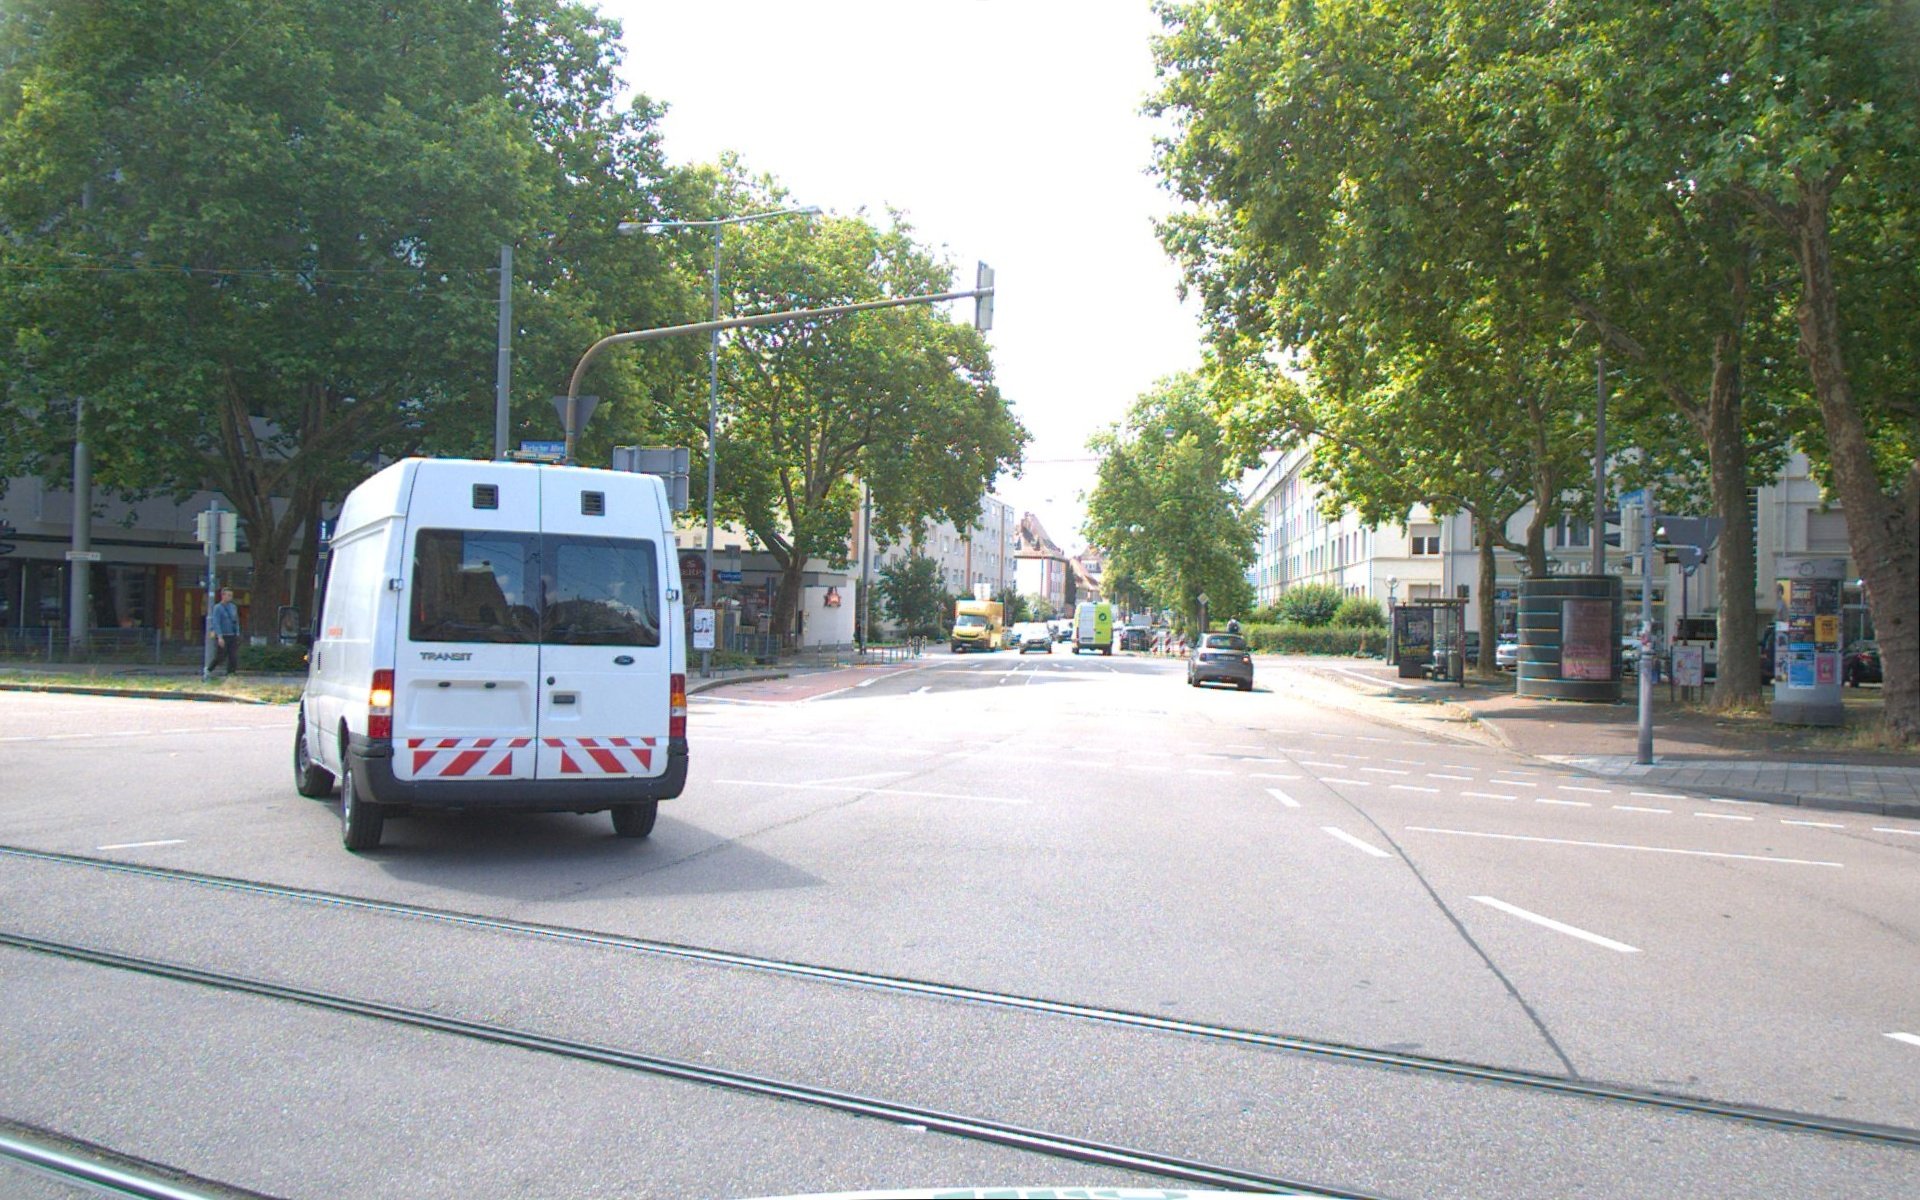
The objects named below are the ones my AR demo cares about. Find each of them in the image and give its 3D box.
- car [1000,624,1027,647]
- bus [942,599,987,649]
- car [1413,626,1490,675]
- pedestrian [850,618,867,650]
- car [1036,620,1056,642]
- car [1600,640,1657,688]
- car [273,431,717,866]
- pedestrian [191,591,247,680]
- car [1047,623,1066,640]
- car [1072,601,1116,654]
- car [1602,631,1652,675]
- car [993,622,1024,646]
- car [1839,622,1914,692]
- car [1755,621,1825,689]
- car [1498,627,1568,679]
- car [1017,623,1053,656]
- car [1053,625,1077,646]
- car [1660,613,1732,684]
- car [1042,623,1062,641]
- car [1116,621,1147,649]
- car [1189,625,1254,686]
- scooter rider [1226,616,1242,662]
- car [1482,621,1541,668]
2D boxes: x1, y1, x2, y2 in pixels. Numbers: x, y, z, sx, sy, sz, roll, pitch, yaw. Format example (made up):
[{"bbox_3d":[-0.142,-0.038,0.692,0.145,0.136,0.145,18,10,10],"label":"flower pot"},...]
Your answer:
[{"bbox_3d":[4.085,2.681,125.677,1.692,1.690,3.752,1,0,6],"label":"car"},{"bbox_3d":[0.299,1.382,94.992,2.344,2.756,6.371,1,-1,1],"label":"bus"},{"bbox_3d":[17.666,1.791,59.324,1.987,1.628,4.535,0,-1,25],"label":"car"},{"bbox_3d":[-4.944,1.645,80.317,0.655,1.505,0.576,1,-1,11],"label":"pedestrian"},{"bbox_3d":[7.885,2.796,151.198,1.617,1.965,3.752,1,0,6],"label":"car"},{"bbox_3d":[21.100,2.006,52.293,1.435,1.413,3.068,1,-1,18],"label":"car"},{"bbox_3d":[-3.471,0.267,11.597,2.024,2.374,4.670,1,0,-28],"label":"car"},{"bbox_3d":[-13.770,0.653,30.742,0.766,1.627,0.535,1,-1,24],"label":"pedestrian"},{"bbox_3d":[9.732,3.168,166.144,1.665,1.690,3.752,1,0,6],"label":"car"},{"bbox_3d":[7.147,1.420,87.424,2.074,2.687,6.332,1,0,6],"label":"car"},{"bbox_3d":[22.576,1.769,56.044,1.435,1.413,3.236,1,-1,20],"label":"car"},{"bbox_3d":[3.318,2.297,112.186,1.806,1.590,4.002,1,-1,5],"label":"car"},{"bbox_3d":[29.192,1.784,52.767,1.955,2.112,3.995,1,-1,27],"label":"car"},{"bbox_3d":[27.202,1.771,54.207,1.955,2.112,3.995,1,-1,27],"label":"car"},{"bbox_3d":[20.150,1.818,58.014,1.868,1.719,4.535,0,-1,25],"label":"car"},{"bbox_3d":[4.083,2.121,89.491,1.749,1.690,4.318,1,0,5],"label":"car"},{"bbox_3d":[8.871,2.945,139.119,1.822,1.690,3.752,1,0,6],"label":"car"},{"bbox_3d":[24.566,1.599,55.149,1.955,2.221,4.252,1,-1,27],"label":"car"},{"bbox_3d":[8.877,3.061,159.236,1.624,1.690,3.752,1,0,6],"label":"car"},{"bbox_3d":[10.321,2.102,99.832,1.688,1.582,3.635,1,-1,4],"label":"car"},{"bbox_3d":[7.367,1.538,46.835,1.656,1.565,3.471,1,0,7],"label":"car"},{"bbox_3d":[11.132,1.574,67.232,0.515,1.843,0.649,1,-1,2],"label":"scooter rider"},{"bbox_3d":[22.875,1.815,68.496,1.867,1.827,4.718,0,-1,24],"label":"car"}]
